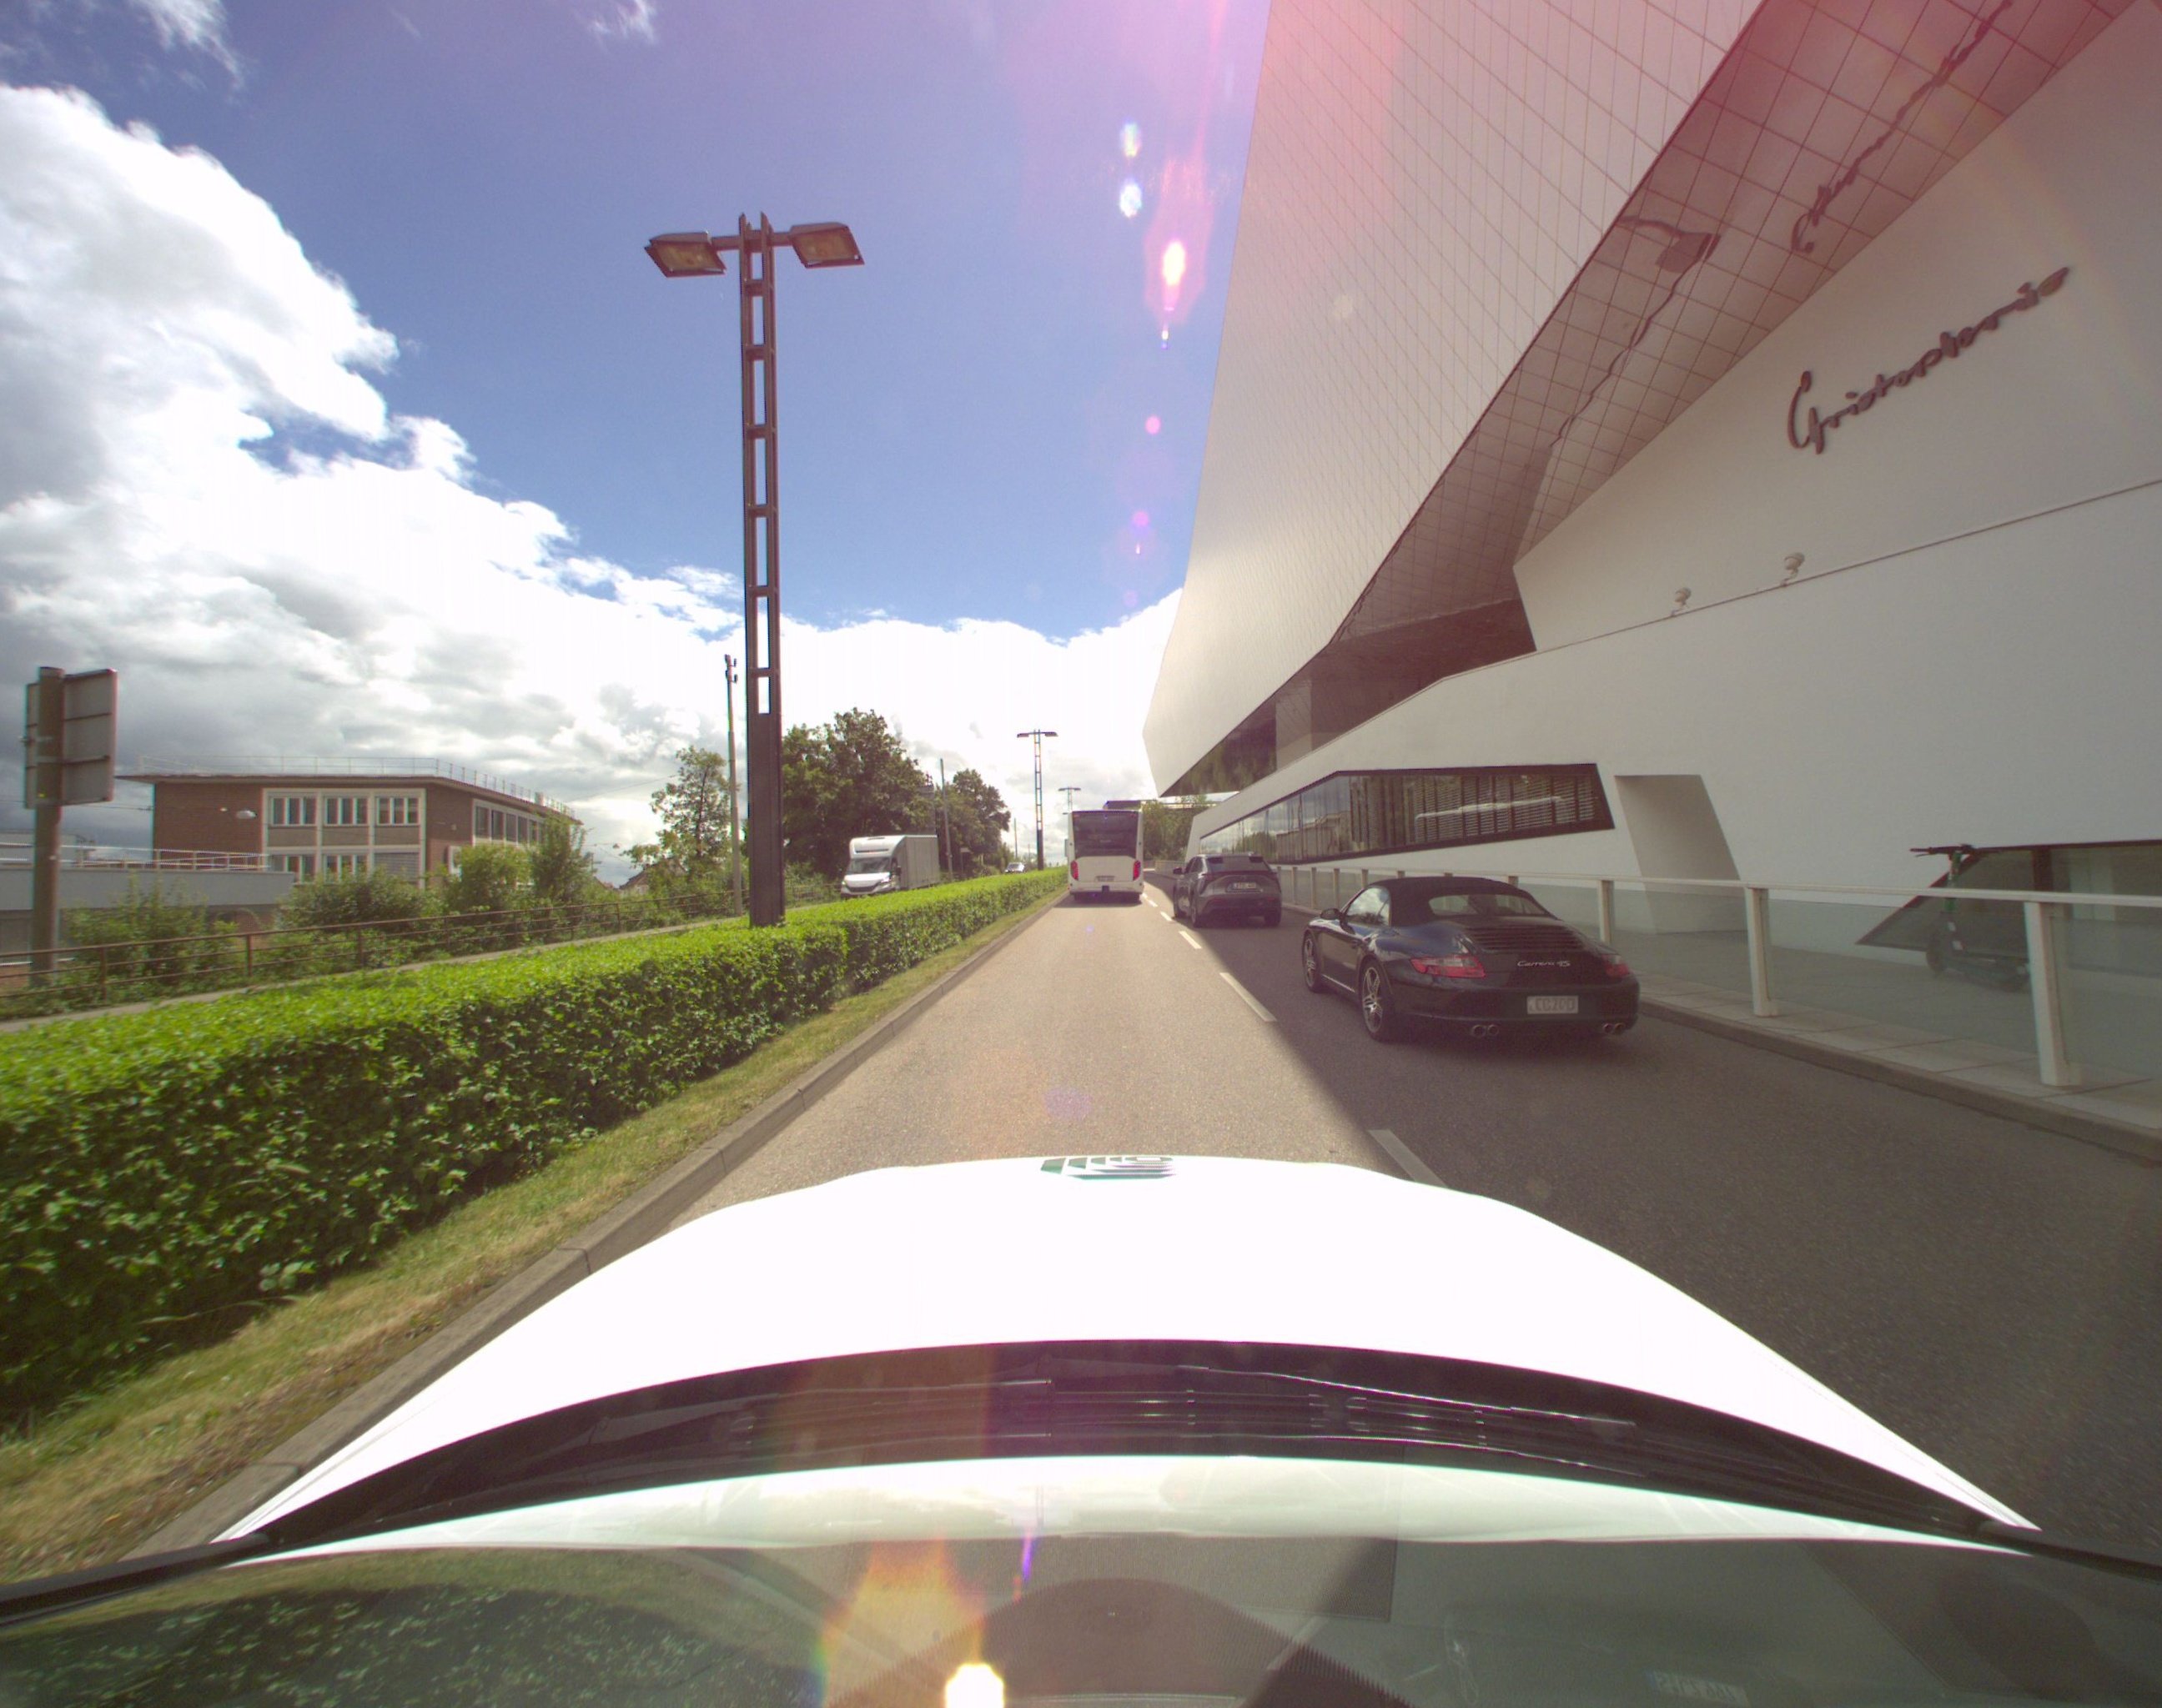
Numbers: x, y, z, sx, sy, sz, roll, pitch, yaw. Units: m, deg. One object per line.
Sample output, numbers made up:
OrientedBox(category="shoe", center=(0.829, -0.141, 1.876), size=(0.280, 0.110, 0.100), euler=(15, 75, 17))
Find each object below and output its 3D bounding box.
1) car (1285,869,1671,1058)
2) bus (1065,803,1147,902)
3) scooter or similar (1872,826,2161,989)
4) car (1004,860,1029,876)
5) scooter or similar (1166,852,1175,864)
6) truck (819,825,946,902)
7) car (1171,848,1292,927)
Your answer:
OrientedBox(category="car", center=(3.253, 0.794, 7.680), size=(1.713, 1.275, 4.088), euler=(-1, -1, 1))
OrientedBox(category="bus", center=(1.025, -0.065, 32.870), size=(2.679, 3.255, 12.062), euler=(0, 0, 2))
OrientedBox(category="scooter or similar", center=(8.342, 0.425, 7.233), size=(0.704, 1.243, 1.953), euler=(-2, -1, 1))
OrientedBox(category="car", center=(-6.518, 1.441, 83.052), size=(1.832, 1.507, 4.565), euler=(-3, -1, 3))
OrientedBox(category="scooter or similar", center=(9.345, 0.405, 85.221), size=(0.651, 1.214, 1.856), euler=(-3, -1, -2))
OrientedBox(category="truck", center=(-8.451, 0.276, 36.207), size=(2.844, 2.857, 9.384), euler=(-2, 1, 3))
OrientedBox(category="car", center=(3.285, 0.717, 18.596), size=(1.874, 1.594, 4.227), euler=(-1, -1, -1))
